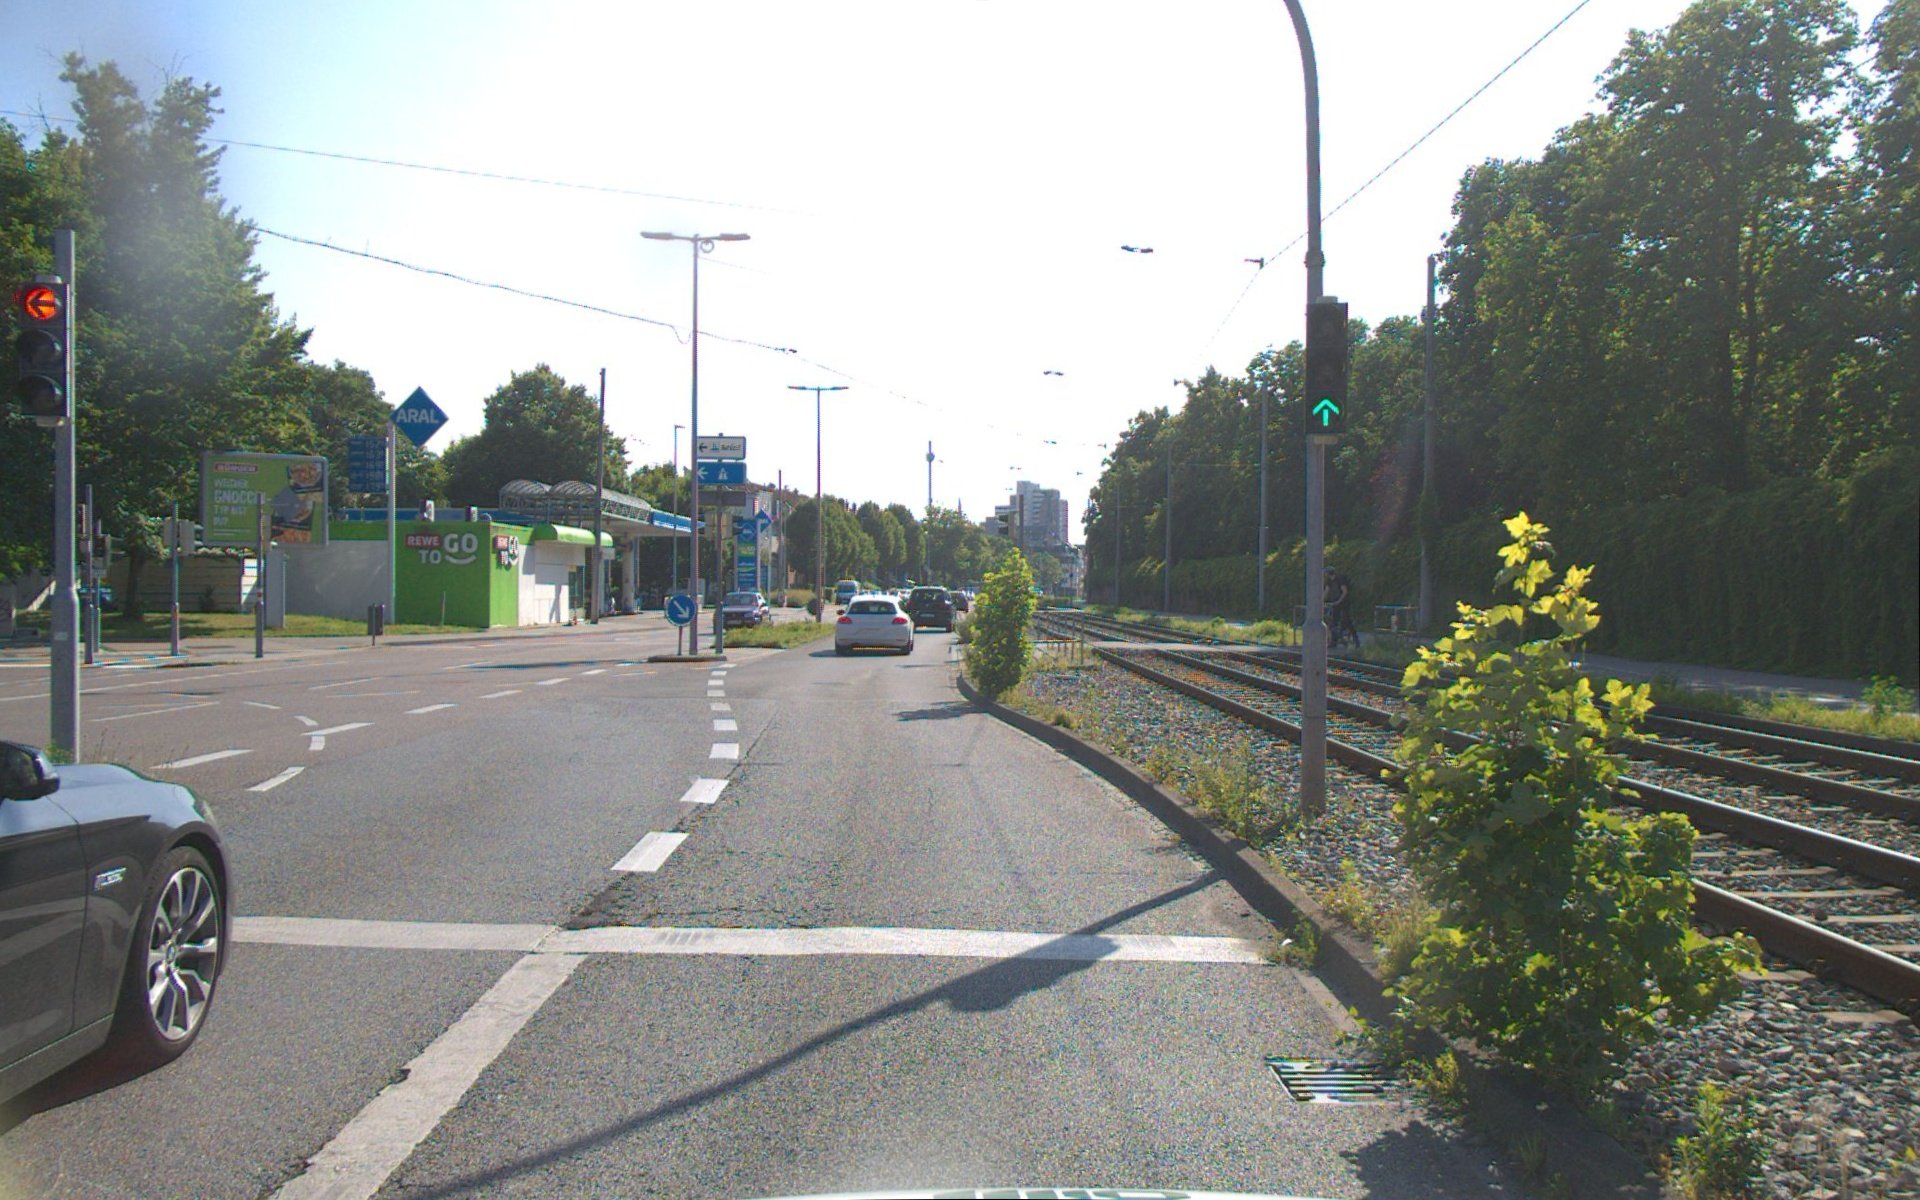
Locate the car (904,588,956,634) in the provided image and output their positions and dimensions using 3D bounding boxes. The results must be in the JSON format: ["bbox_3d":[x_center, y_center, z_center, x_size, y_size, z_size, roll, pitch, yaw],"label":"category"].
[{"bbox_3d":[-1.125,0.381,61.134,1.690,1.620,3.598,2,0,-4],"label":"car"}]

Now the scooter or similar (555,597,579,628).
[{"bbox_3d":[-16.198,0.512,68.175,0.521,1.194,1.310,5,0,3],"label":"scooter or similar"}]

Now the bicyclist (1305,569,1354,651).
[{"bbox_3d":[9.192,0.240,41.110,1.012,2.028,0.947,0,0,24],"label":"bicyclist"}]

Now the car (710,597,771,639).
[{"bbox_3d":[-7.708,0.613,58.330,1.619,1.420,4.133,0,0,0],"label":"car"}]

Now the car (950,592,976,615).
[{"bbox_3d":[0.211,0.228,112.438,1.713,1.511,3.601,2,0,0],"label":"car"}]

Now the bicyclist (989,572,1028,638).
[{"bbox_3d":[1.098,0.109,37.033,0.629,1.441,1.013,1,-1,16],"label":"bicyclist"}]

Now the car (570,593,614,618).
[{"bbox_3d":[-21.580,0.296,97.082,1.708,1.418,4.120,0,0,-1],"label":"car"}]

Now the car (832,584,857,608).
[{"bbox_3d":[-11.622,-0.388,166.627,1.952,2.418,4.540,0,0,3],"label":"car"}]

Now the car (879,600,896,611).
[{"bbox_3d":[-9.496,0.750,216.126,1.952,1.441,3.845,0,0,2],"label":"car"}]

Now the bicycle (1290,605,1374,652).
[{"bbox_3d":[9.241,0.688,41.089,1.882,1.134,0.947,0,0,24],"label":"bicycle"}]

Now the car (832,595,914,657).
[{"bbox_3d":[-2.062,0.599,40.056,1.744,1.380,3.601,2,0,0],"label":"car"}]

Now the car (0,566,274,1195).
[{"bbox_3d":[-3.121,0.659,3.399,1.725,1.511,4.641,2,0,-4],"label":"car"}]

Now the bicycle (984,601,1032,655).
[{"bbox_3d":[1.093,0.621,37.060,0.629,1.174,1.938,0,0,15],"label":"bicycle"}]

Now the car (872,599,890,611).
[{"bbox_3d":[-9.764,0.643,204.590,1.952,1.441,3.845,0,0,2],"label":"car"}]
